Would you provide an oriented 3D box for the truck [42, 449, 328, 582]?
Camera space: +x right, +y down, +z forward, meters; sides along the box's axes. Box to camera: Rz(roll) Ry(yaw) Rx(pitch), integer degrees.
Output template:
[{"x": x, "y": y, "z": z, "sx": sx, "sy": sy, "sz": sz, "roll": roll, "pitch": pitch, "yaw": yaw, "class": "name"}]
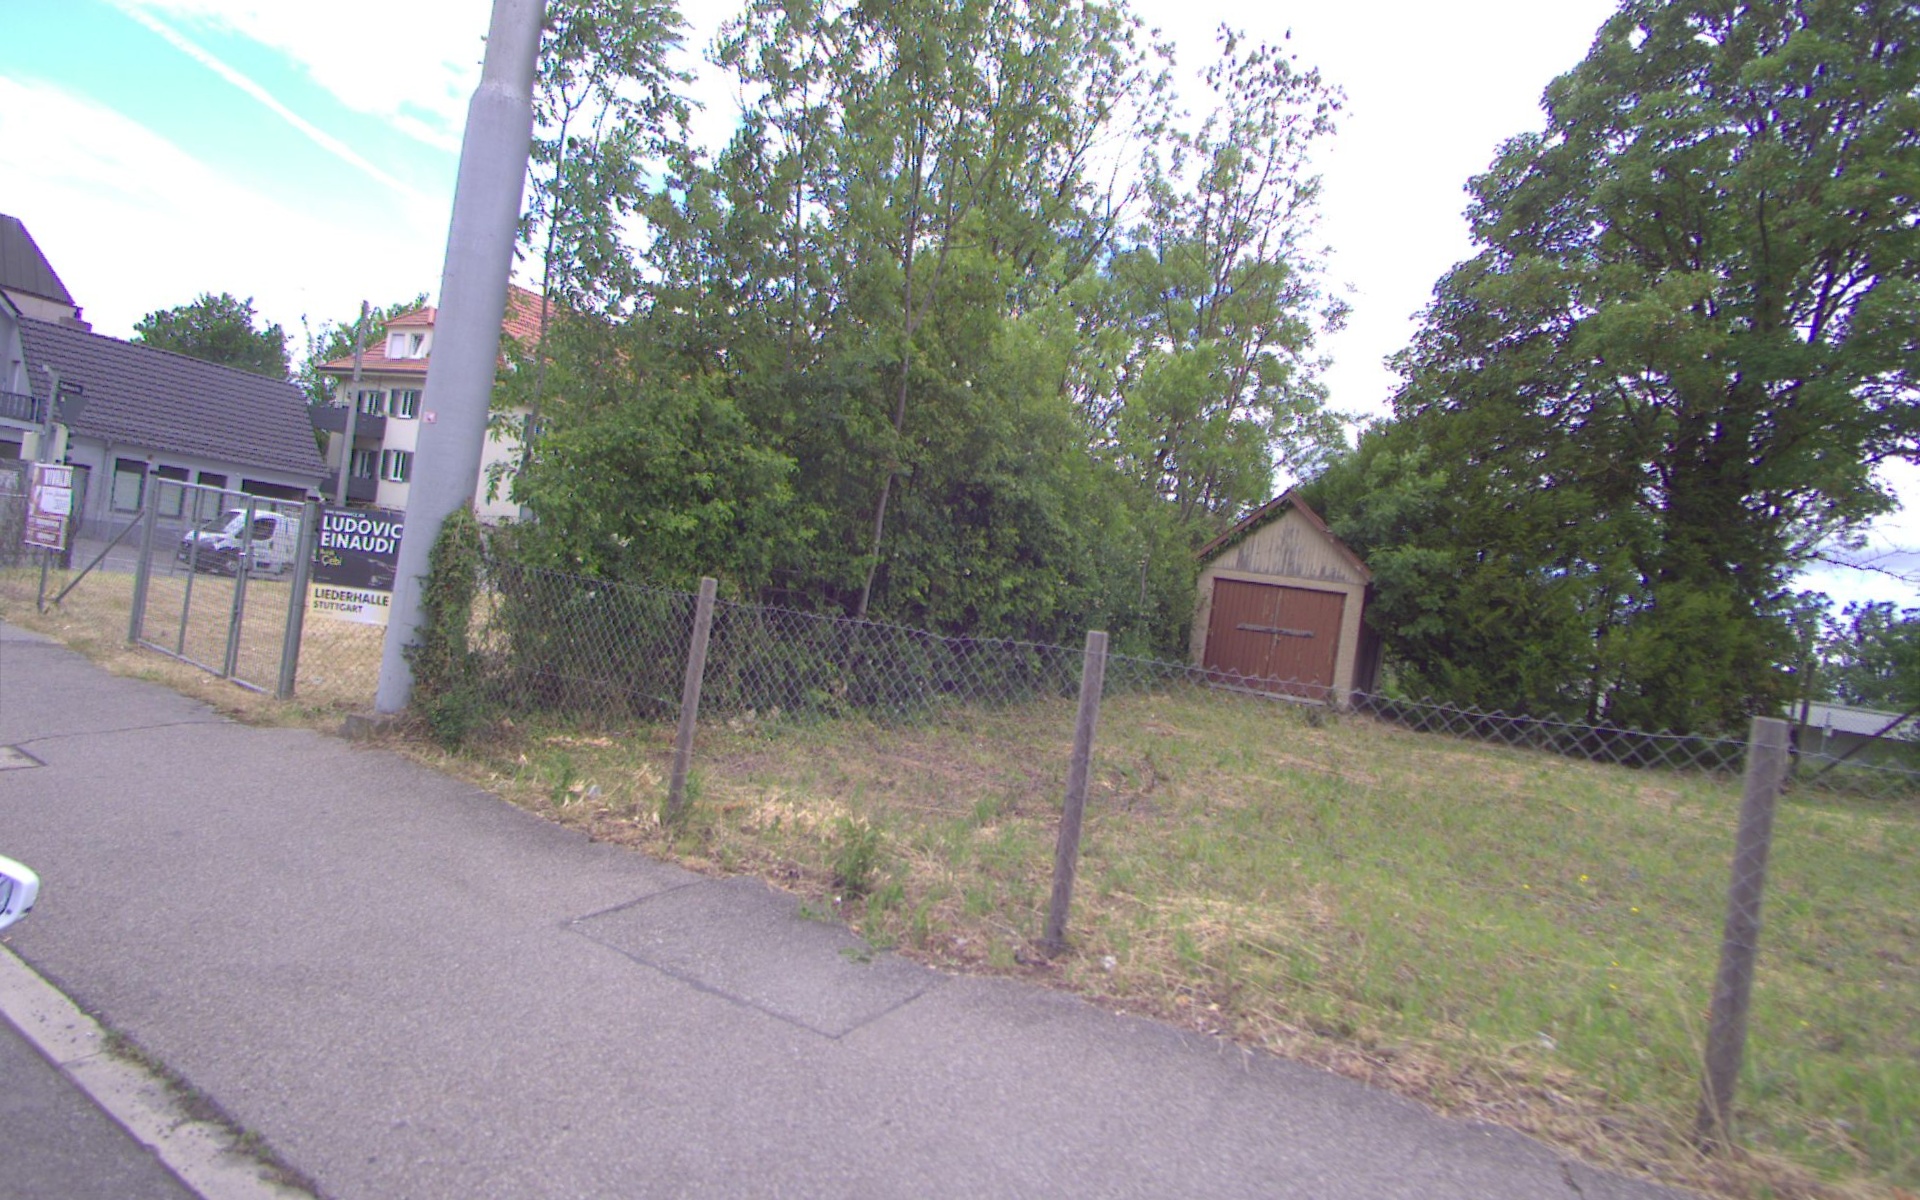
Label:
[{"x": -23.390, "y": -2.438, "z": 30.775, "sx": 1.966, "sy": 2.730, "sz": 6.405, "roll": 7, "pitch": -3, "yaw": 31, "class": "truck"}]
